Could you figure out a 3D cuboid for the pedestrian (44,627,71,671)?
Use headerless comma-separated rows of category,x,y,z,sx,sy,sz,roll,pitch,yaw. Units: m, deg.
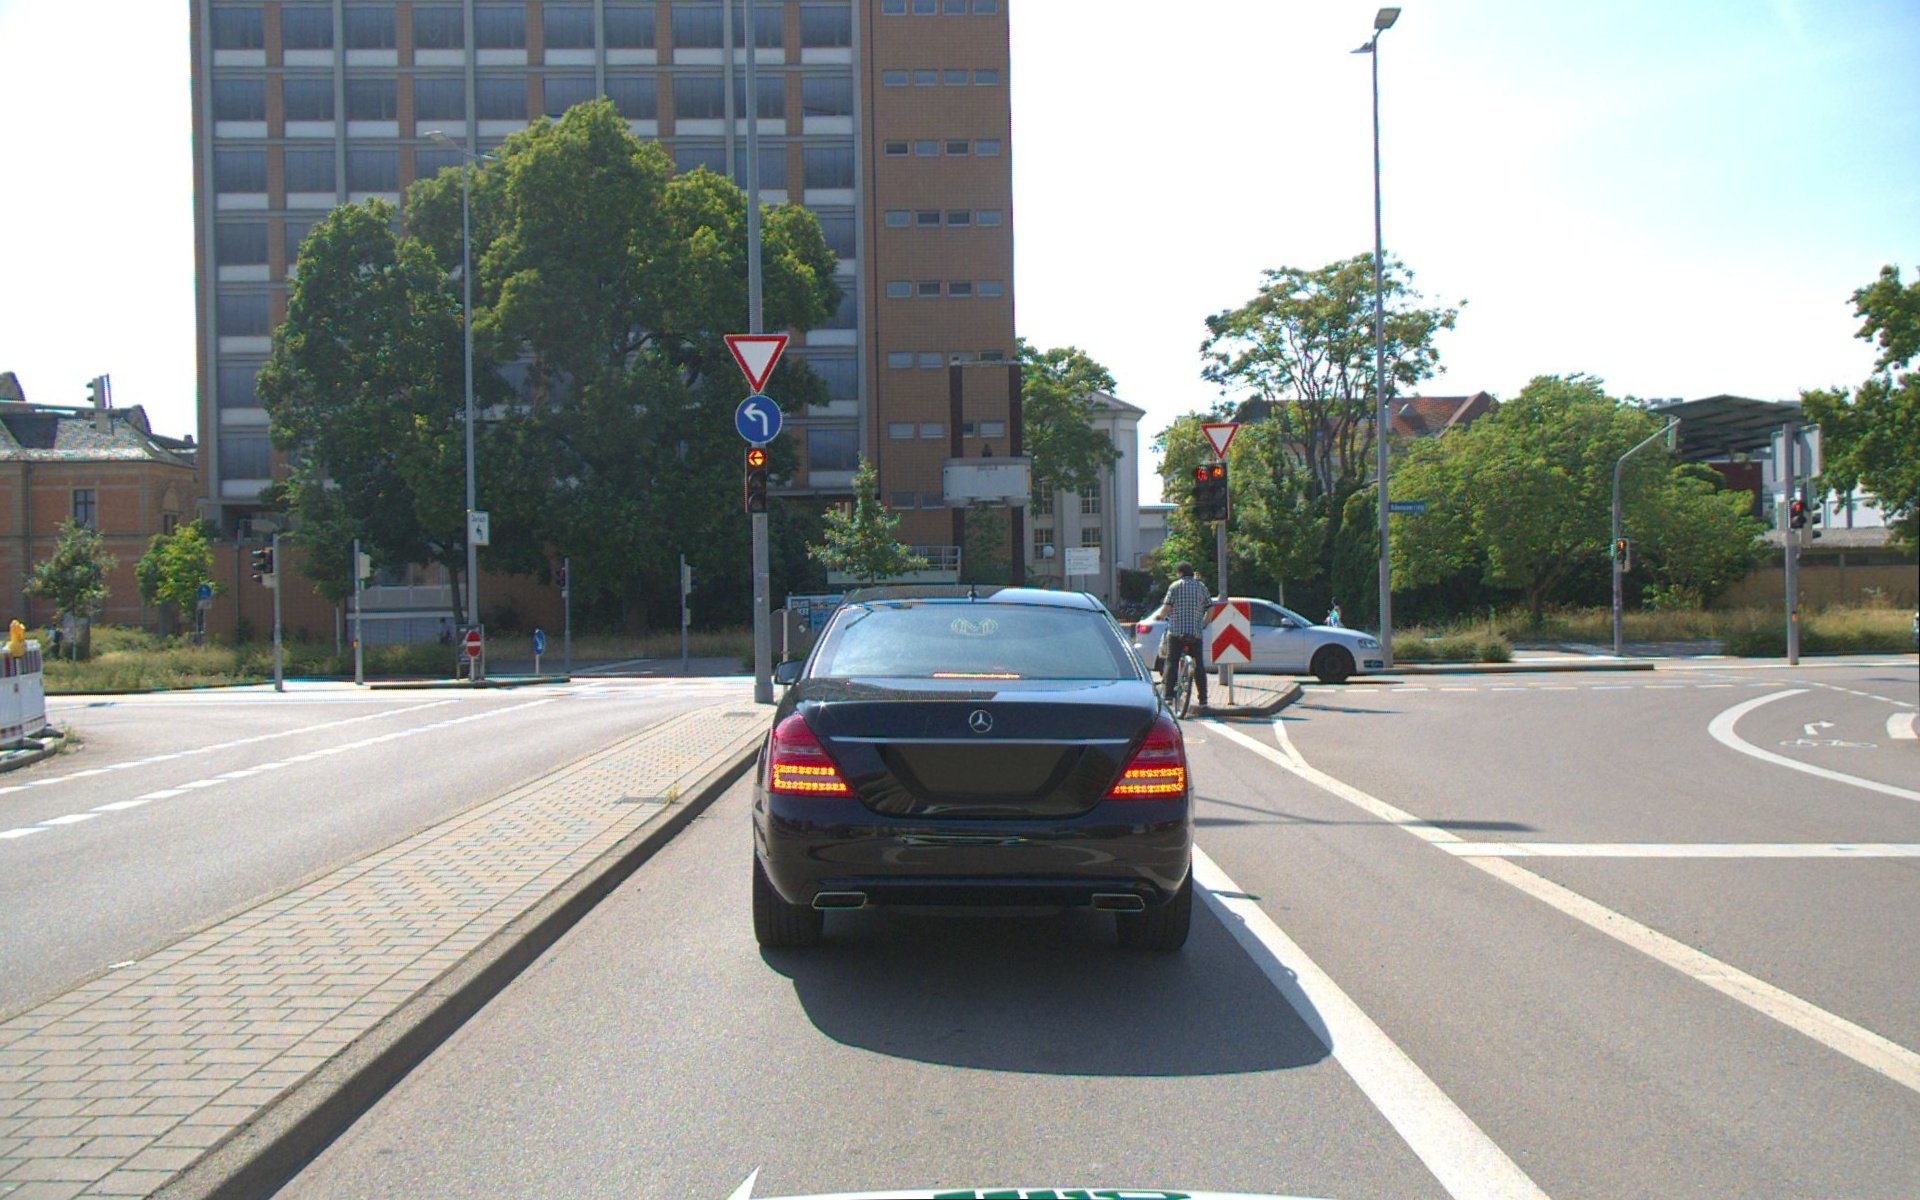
pedestrian,-35.243,1.904,64.617,0.635,1.690,0.649,1,-1,25

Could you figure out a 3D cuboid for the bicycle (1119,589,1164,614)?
bicycle,11.679,0.075,106.624,2.765,1.506,0.841,-2,0,0

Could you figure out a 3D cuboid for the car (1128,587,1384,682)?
car,4.946,0.566,27.727,4.069,1.445,1.586,-2,0,11

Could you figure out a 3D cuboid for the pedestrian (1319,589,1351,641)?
pedestrian,11.694,0.470,51.613,0.794,1.607,0.692,-1,-1,1

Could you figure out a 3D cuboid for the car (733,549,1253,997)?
car,-0.015,0.619,8.174,1.822,1.557,4.710,1,0,-4

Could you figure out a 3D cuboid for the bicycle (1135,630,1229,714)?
bicycle,2.747,0.880,20.651,0.679,0.963,1.955,1,0,-7

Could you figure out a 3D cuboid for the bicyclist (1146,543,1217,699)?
bicyclist,2.753,0.258,20.624,0.673,1.911,0.858,0,0,-7

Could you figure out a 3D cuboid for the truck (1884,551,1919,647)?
truck,27.515,-0.127,41.852,6.881,2.397,2.413,-2,0,0

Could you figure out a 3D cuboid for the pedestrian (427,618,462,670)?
pedestrian,-17.804,1.519,57.119,0.781,1.756,0.873,-2,-1,22

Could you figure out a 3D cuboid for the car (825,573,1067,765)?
car,-0.139,0.570,15.490,1.953,1.534,3.999,1,0,-1

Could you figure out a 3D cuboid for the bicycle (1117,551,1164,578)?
bicycle,11.195,-2.192,102.573,2.766,1.586,0.841,-2,0,-2

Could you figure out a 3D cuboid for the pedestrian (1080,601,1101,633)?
pedestrian,5.051,0.646,63.794,0.776,1.235,0.758,1,0,6

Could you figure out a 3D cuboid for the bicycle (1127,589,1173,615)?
bicycle,12.011,0.128,104.722,2.766,1.526,0.841,-2,0,-2
